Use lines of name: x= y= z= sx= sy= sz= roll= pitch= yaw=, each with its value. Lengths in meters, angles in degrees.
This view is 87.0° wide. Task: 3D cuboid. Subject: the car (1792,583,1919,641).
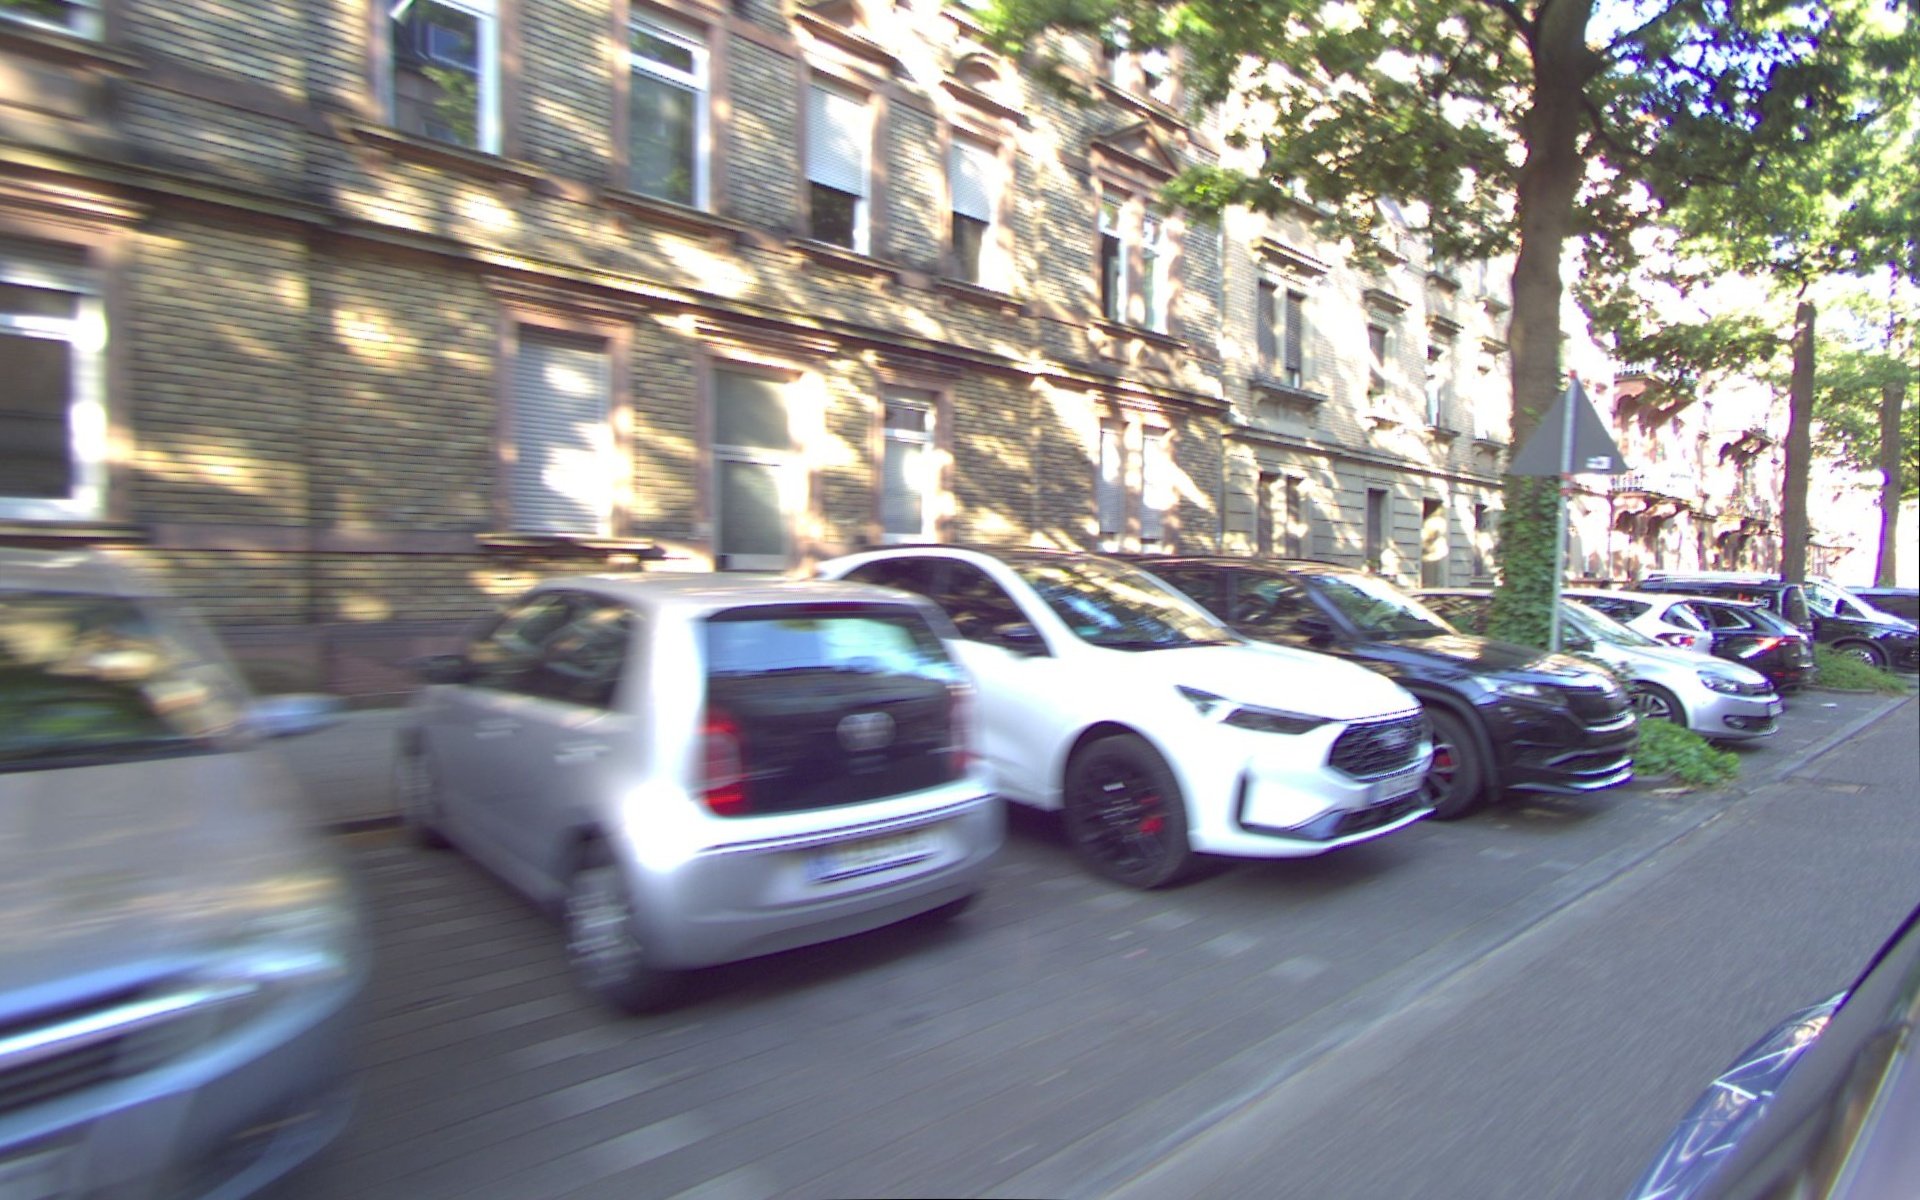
car: x=29.744 y=0.388 z=32.620 sx=1.709 sy=1.607 sz=4.239 roll=0 pitch=4 yaw=-43

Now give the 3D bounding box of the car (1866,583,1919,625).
car: x=42.550 y=0.290 z=44.269 sx=1.749 sy=1.640 sz=4.059 roll=0 pitch=6 yaw=-40

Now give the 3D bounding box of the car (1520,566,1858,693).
car: x=11.770 y=0.368 z=16.561 sx=1.910 sy=1.811 sz=4.135 roll=0 pitch=1 yaw=-39

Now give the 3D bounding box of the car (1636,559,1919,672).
car: x=17.380 y=0.231 z=21.229 sx=2.140 sy=1.924 sz=4.925 roll=0 pitch=4 yaw=-44

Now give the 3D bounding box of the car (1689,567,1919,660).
car: x=20.046 y=0.281 z=23.594 sx=4.635 sy=1.913 sz=1.890 roll=3 pitch=2 yaw=28

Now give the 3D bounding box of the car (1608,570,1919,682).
car: x=15.342 y=0.397 z=19.051 sx=2.044 sy=1.652 sz=4.925 roll=0 pitch=4 yaw=-44

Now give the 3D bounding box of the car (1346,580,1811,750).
car: x=6.493 y=0.542 z=10.989 sx=1.657 sy=1.474 sz=3.995 roll=0 pitch=1 yaw=-40

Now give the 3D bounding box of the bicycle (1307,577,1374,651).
bicycle: x=7.114 y=0.245 z=18.874 sx=1.852 sy=1.335 sz=0.368 roll=0 pitch=1 yaw=-43

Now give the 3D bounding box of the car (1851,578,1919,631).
car: x=37.436 y=0.243 z=39.219 sx=1.749 sy=1.909 sz=4.058 roll=1 pitch=4 yaw=-39

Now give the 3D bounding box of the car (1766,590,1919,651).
car: x=24.740 y=0.552 z=27.207 sx=1.869 sy=1.384 sz=4.469 roll=0 pitch=3 yaw=-39

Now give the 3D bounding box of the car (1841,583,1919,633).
car: x=35.564 y=0.347 z=37.702 sx=1.707 sy=1.702 sz=3.845 roll=0 pitch=4 yaw=-39

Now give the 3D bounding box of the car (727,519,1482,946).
car: x=0.514 y=0.452 z=6.258 sx=1.860 sy=1.676 sz=4.482 roll=-2 pitch=2 yaw=-42

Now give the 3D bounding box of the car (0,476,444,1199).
car: x=-3.159 y=0.536 z=2.979 sx=1.771 sy=1.555 sz=4.226 roll=0 pitch=1 yaw=-44

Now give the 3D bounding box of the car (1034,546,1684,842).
car: x=2.803 y=0.459 z=8.045 sx=1.858 sy=1.676 sz=4.486 roll=-2 pitch=2 yaw=-39

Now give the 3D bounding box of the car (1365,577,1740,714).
car: x=7.686 y=0.480 z=13.394 sx=1.659 sy=1.513 sz=3.990 roll=0 pitch=1 yaw=-44

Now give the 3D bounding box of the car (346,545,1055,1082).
car: x=-1.623 y=0.552 z=4.960 sx=1.769 sy=1.488 sz=4.109 roll=0 pitch=1 yaw=-40

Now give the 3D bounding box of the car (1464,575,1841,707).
car: x=9.849 y=0.464 z=14.643 sx=1.904 sy=1.473 sz=4.152 roll=0 pitch=3 yaw=-42

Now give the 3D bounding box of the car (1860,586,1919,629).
car: x=39.206 y=0.395 z=40.821 sx=1.749 sy=1.599 sz=4.058 roll=0 pitch=4 yaw=-39

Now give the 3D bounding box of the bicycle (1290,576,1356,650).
bicycle: x=6.912 y=0.233 z=19.243 sx=1.852 sy=1.335 sz=0.368 roll=0 pitch=1 yaw=-43

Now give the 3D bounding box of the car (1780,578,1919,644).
car: x=27.969 y=0.312 z=30.959 sx=1.751 sy=1.910 sz=4.240 roll=0 pitch=0 yaw=-40

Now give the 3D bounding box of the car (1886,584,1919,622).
car: x=46.110 y=0.290 z=47.156 sx=1.749 sy=1.640 sz=4.059 roll=0 pitch=6 yaw=-40

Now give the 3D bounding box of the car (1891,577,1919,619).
car: x=49.994 y=0.091 z=50.651 sx=1.892 sy=2.000 sz=4.701 roll=0 pitch=6 yaw=-41
